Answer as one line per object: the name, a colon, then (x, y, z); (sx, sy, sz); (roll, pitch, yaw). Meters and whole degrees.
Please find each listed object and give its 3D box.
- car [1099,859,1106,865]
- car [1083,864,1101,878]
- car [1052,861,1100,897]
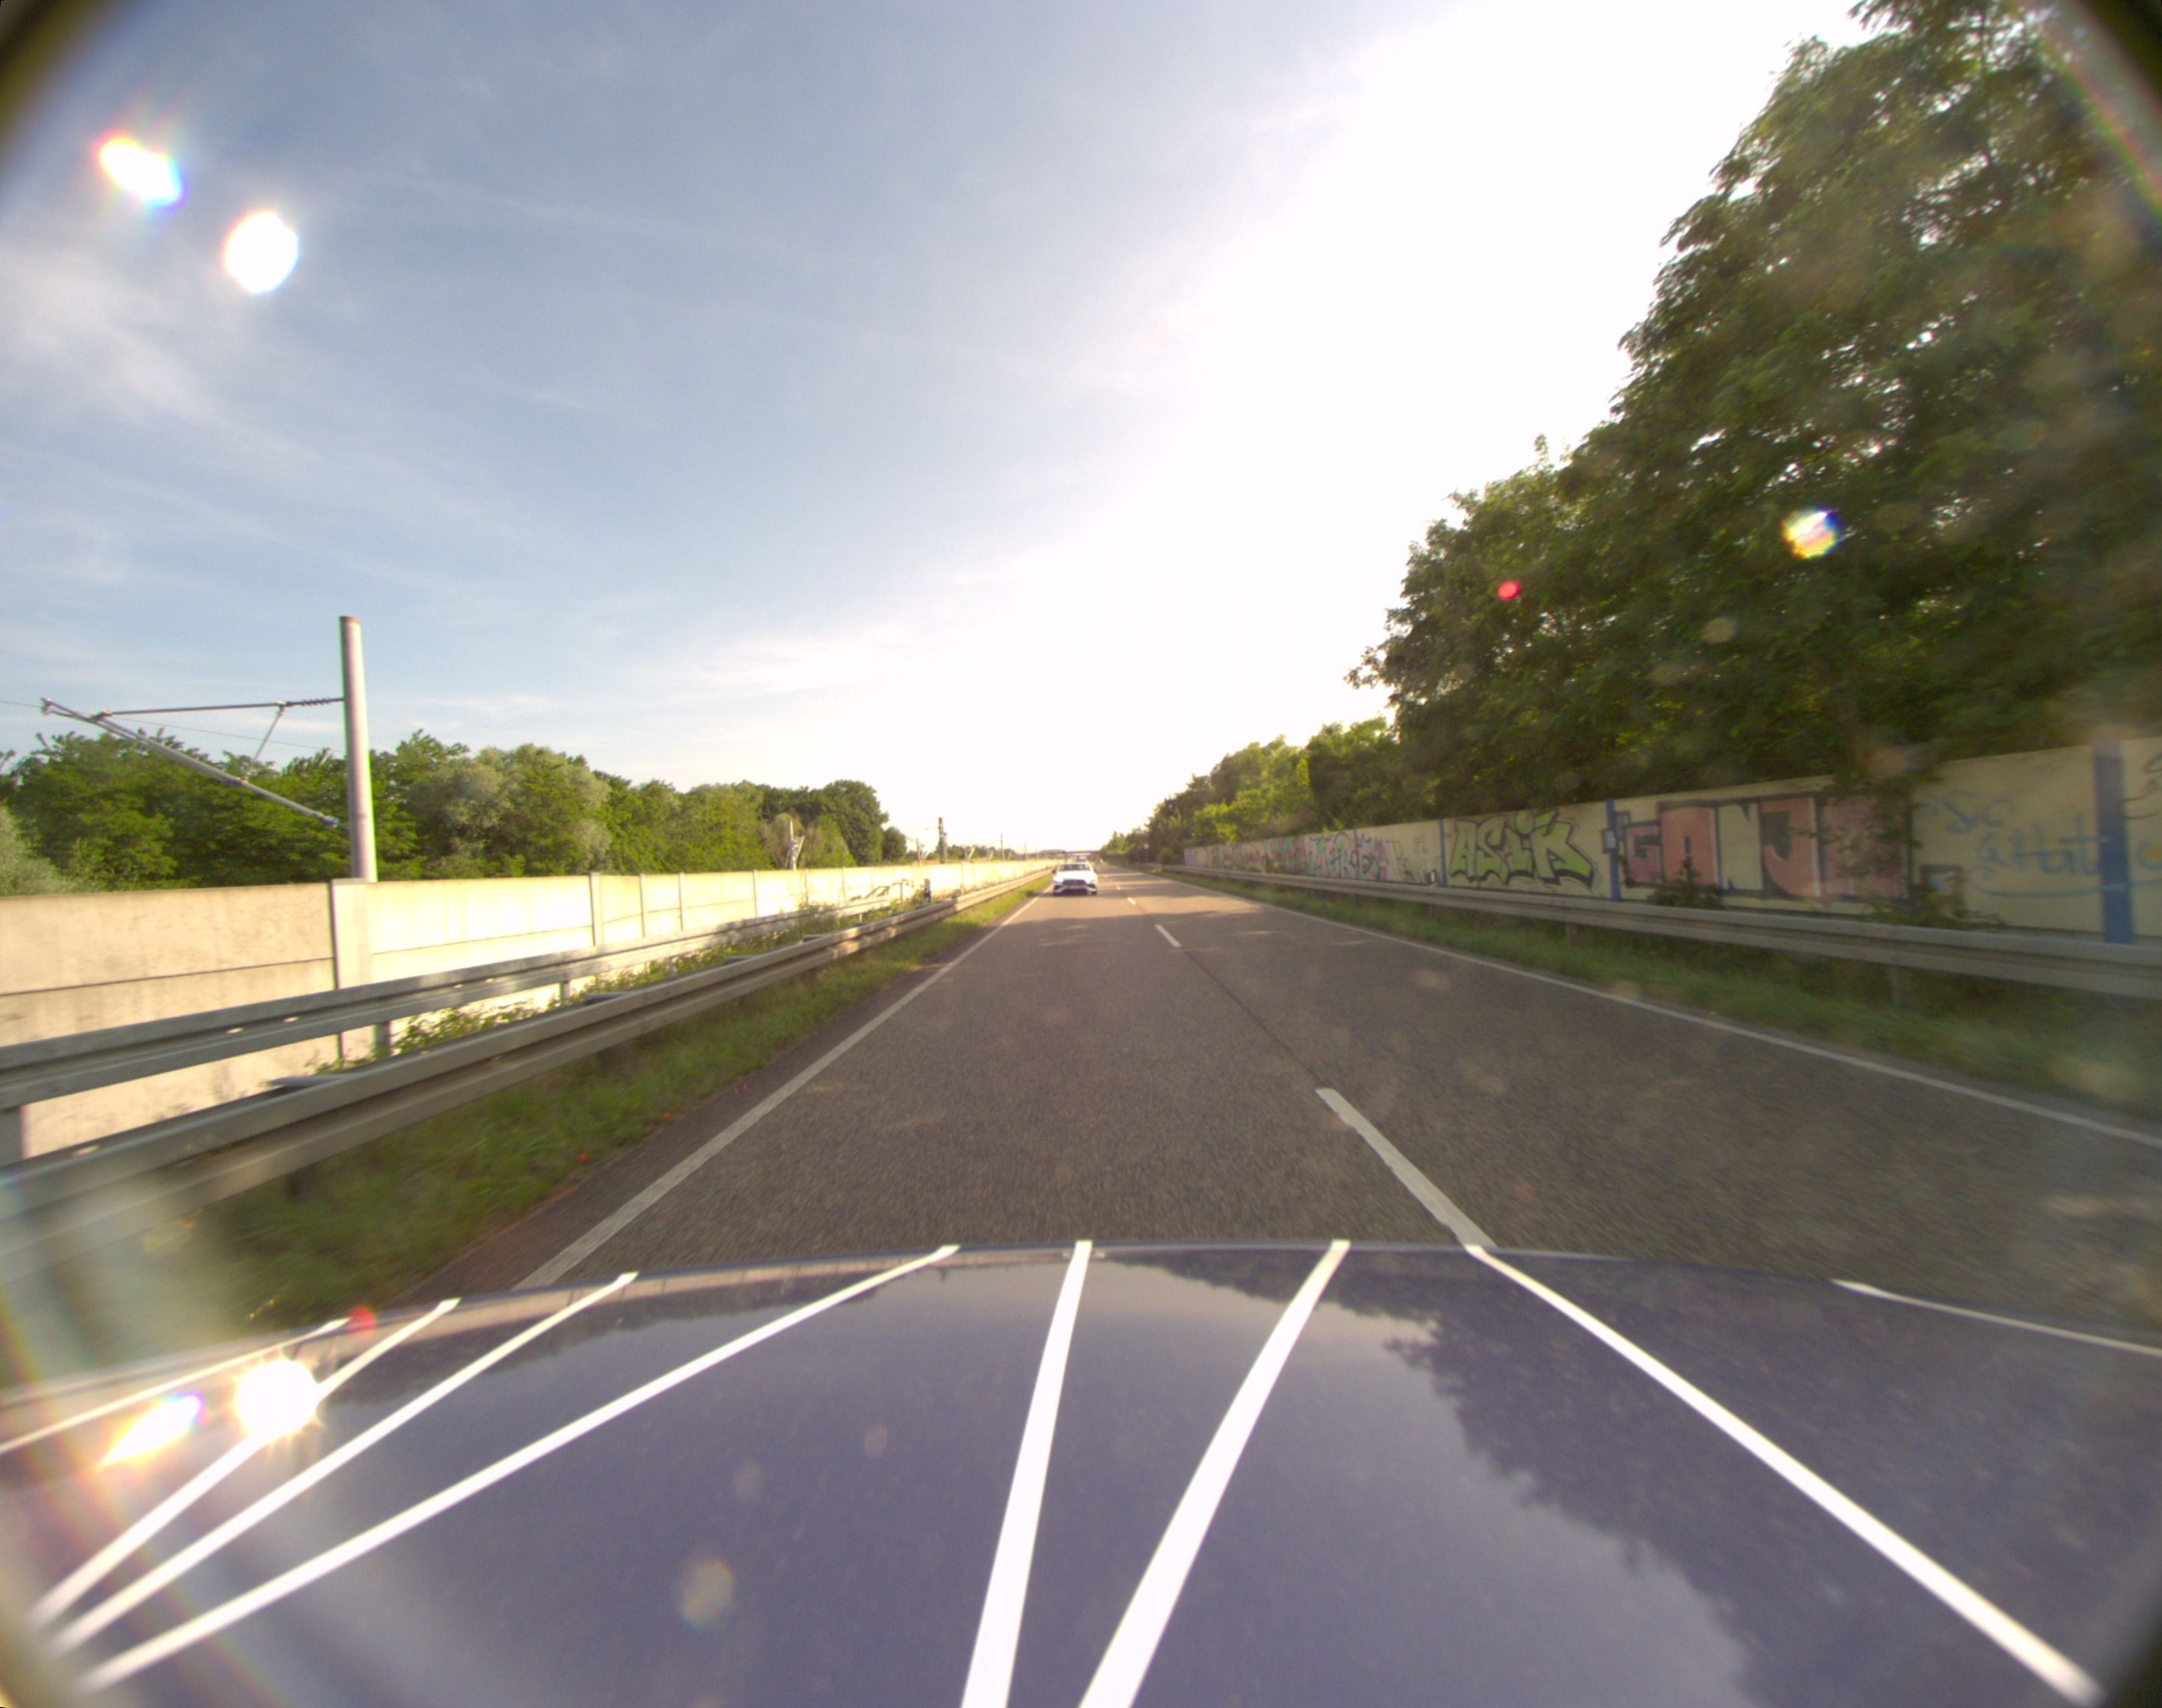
car: (5.345, 1.891, 187.872); (1.724, 1.386, 4.360); (-1, 0, 1)
car: (1.286, 1.939, 86.853); (1.953, 1.430, 4.612); (-3, -1, 0)
car: (-0.182, 1.070, 33.800); (1.953, 1.430, 4.612); (-2, -1, 0)
